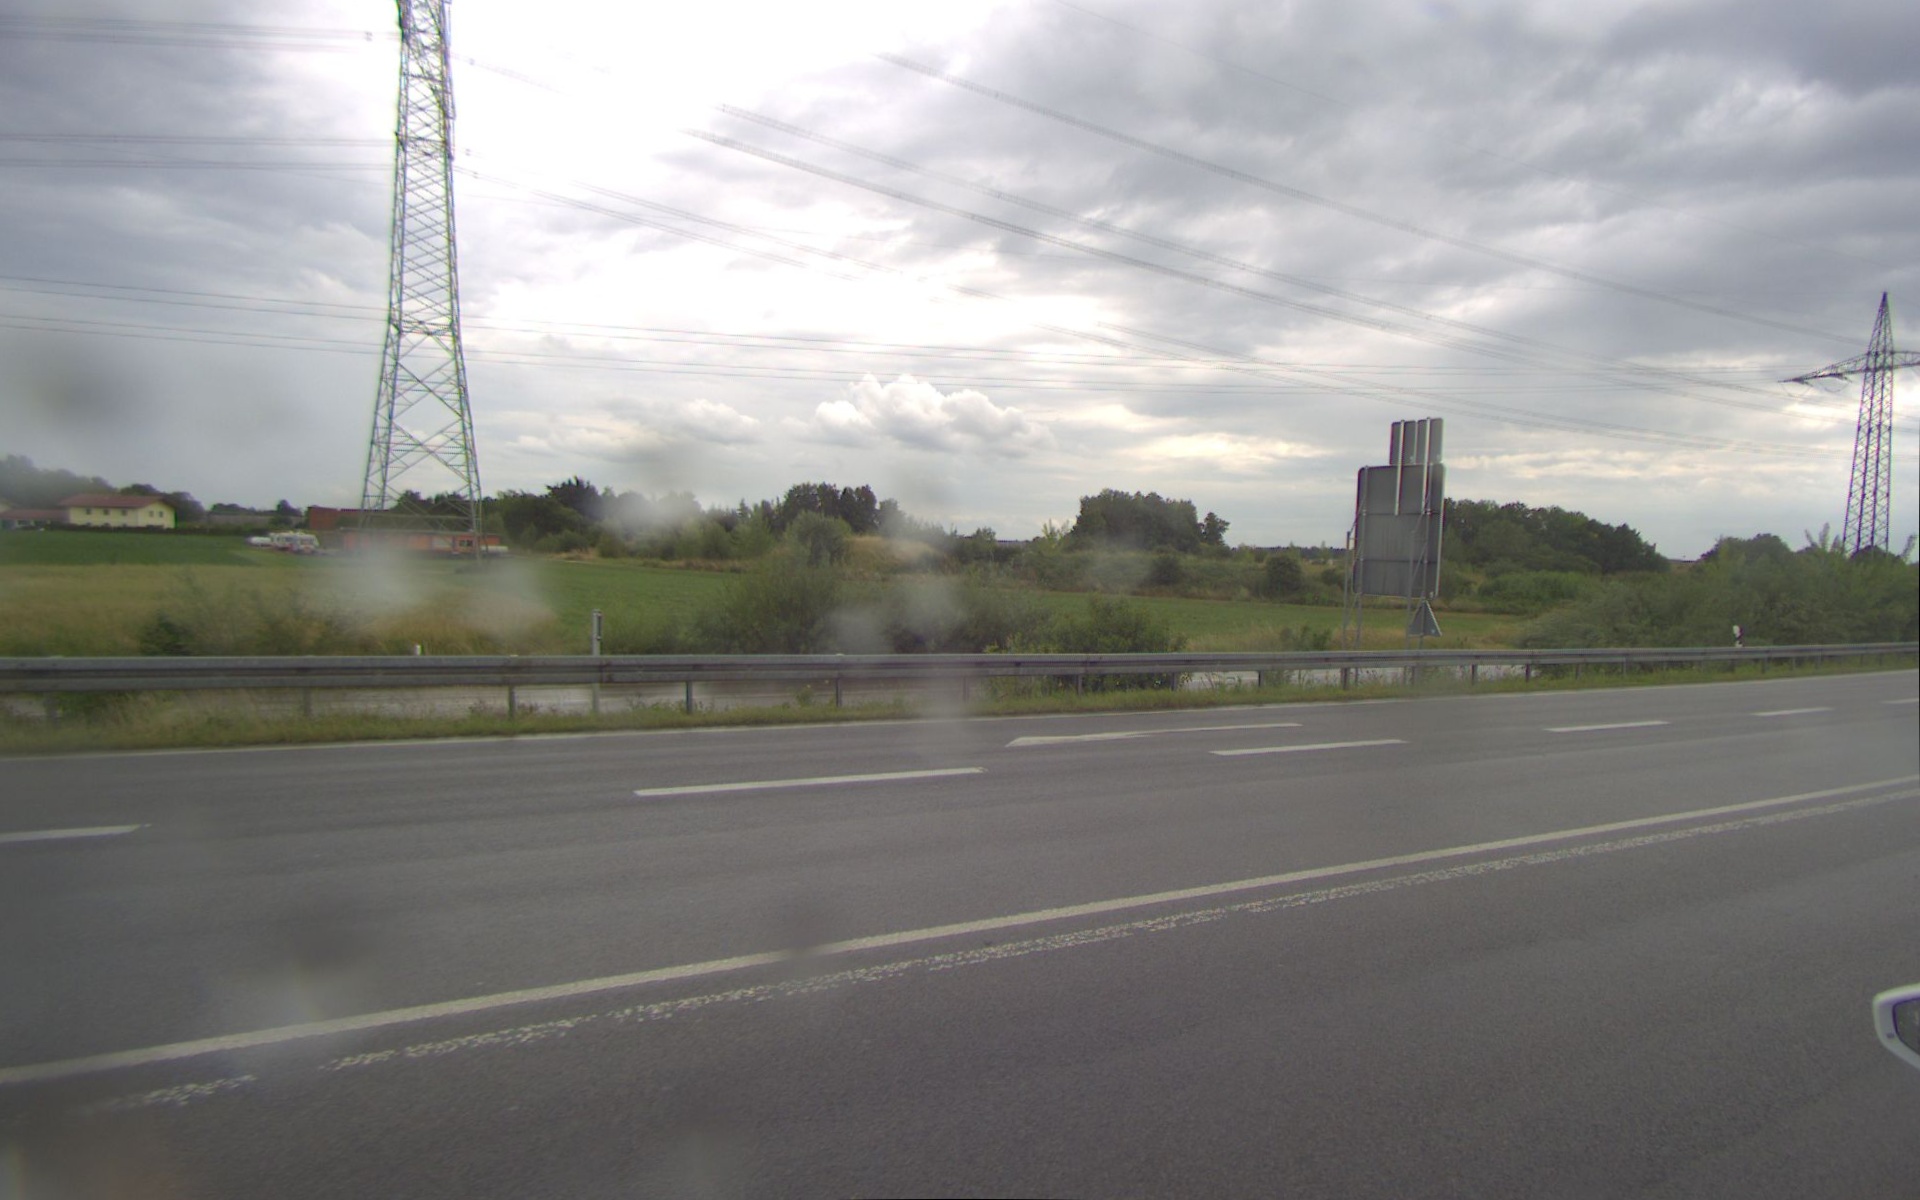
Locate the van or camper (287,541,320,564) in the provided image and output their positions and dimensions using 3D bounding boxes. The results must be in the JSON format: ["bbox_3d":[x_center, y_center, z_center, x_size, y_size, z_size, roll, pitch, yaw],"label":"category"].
[{"bbox_3d":[-86.091,-6.243,131.656,5.636,2.667,2.315,7,5,43],"label":"van or camper"}]

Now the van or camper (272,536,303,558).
[{"bbox_3d":[-95.630,-7.560,142.810,5.636,2.667,2.315,7,5,43],"label":"van or camper"}]

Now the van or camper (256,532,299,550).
[{"bbox_3d":[-114.654,-9.914,168.766,5.671,2.667,2.301,1,4,-40],"label":"van or camper"}]
